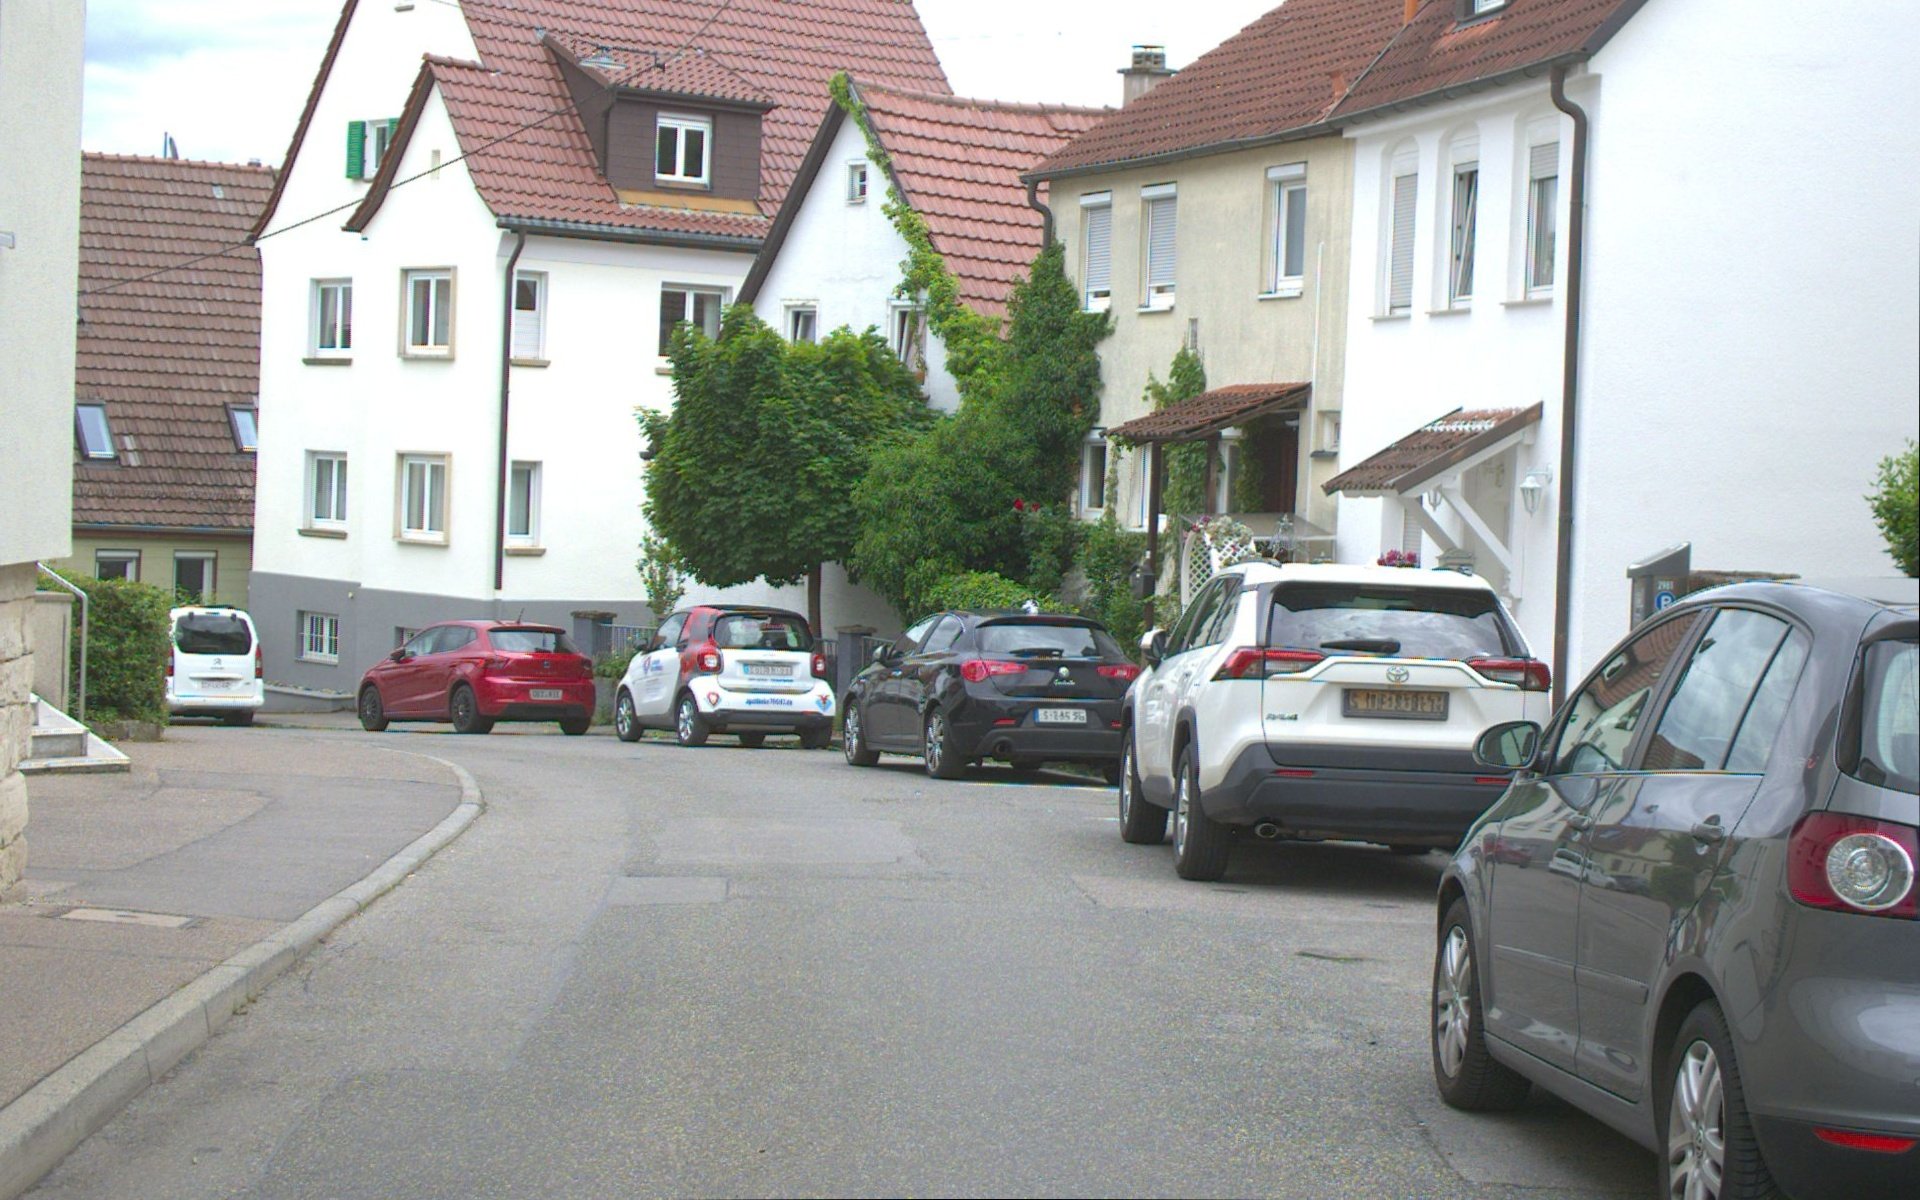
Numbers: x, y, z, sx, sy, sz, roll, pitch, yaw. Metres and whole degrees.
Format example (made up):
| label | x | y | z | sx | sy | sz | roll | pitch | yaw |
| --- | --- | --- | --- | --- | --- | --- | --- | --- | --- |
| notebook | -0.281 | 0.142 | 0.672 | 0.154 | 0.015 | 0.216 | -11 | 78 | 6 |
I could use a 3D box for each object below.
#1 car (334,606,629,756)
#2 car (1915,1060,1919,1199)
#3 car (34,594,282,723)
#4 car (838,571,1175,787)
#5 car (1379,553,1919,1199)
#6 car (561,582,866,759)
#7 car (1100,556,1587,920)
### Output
| label | x | y | z | sx | sy | sz | roll | pitch | yaw |
| --- | --- | --- | --- | --- | --- | --- | --- | --- | --- |
| car | -6.137 | 1.027 | 43.791 | 1.994 | 1.678 | 3.999 | -5 | 1 | -35 |
| car | 2.474 | 0.854 | 3.485 | 1.797 | 1.347 | 4.075 | 2 | 0 | -1 |
| car | -12.115 | 0.843 | 51.794 | 2.059 | 1.639 | 3.999 | -1 | 3 | -39 |
| car | 0.317 | 0.673 | 29.471 | 1.993 | 1.707 | 4.001 | 1 | -1 | -13 |
| car | 2.323 | 0.766 | 8.702 | 1.736 | 1.605 | 4.000 | 5 | 0 | -3 |
| car | -2.814 | 0.753 | 38.383 | 1.962 | 1.707 | 4.001 | 2 | 2 | -26 |
| car | 1.948 | 0.666 | 18.729 | 1.873 | 1.707 | 4.148 | 2 | 0 | -4 |
